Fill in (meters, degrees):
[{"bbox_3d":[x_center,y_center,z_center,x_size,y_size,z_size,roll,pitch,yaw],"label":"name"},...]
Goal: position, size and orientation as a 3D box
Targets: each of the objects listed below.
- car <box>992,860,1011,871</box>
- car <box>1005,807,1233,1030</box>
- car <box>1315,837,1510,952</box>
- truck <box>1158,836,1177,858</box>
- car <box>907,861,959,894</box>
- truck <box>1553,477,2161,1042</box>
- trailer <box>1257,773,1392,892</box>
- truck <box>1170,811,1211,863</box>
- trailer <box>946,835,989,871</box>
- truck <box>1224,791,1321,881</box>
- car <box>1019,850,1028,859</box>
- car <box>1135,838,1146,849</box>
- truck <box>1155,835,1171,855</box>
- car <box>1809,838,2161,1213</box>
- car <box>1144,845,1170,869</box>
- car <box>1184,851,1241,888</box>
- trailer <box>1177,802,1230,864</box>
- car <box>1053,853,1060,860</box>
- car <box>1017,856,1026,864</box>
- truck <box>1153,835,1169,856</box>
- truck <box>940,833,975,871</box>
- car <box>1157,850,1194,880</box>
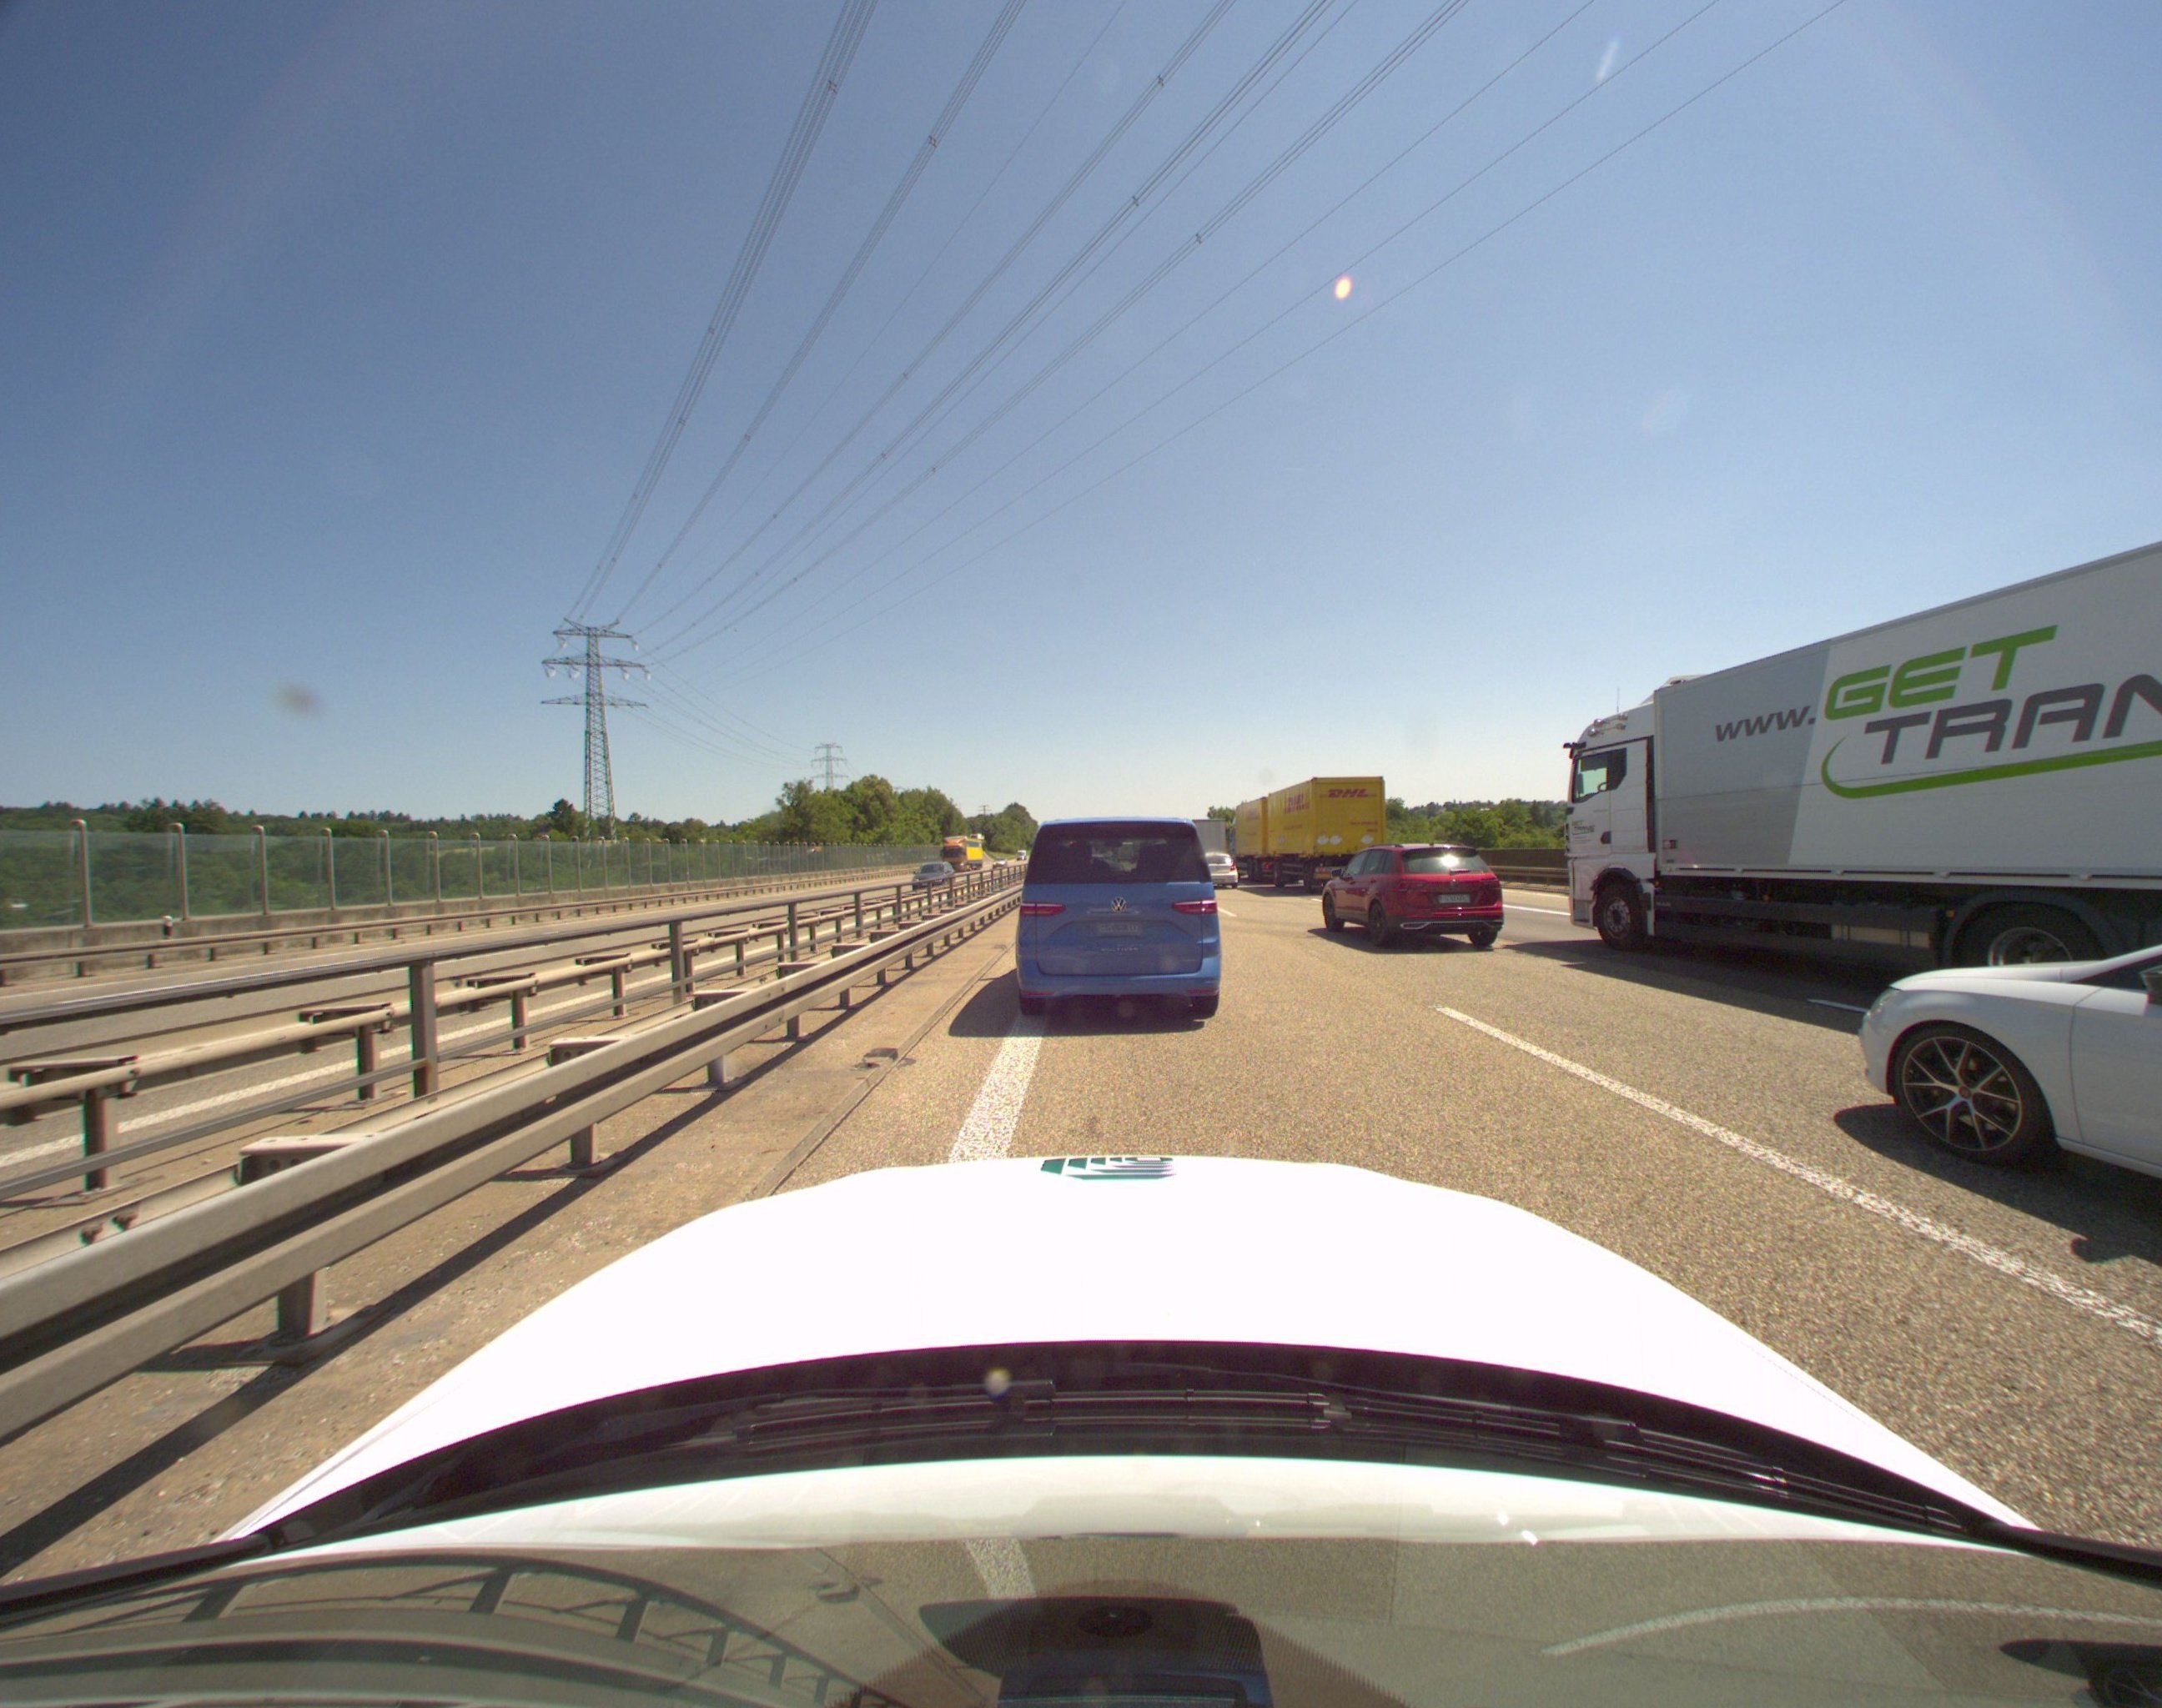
[{"bbox_3d":[-10.420,1.550,106.591,1.681,1.303,4.017,-4,-1,4],"label":"car"},{"bbox_3d":[0.364,0.562,8.919,1.924,1.874,4.001,-1,-1,1],"label":"car"},{"bbox_3d":[5.462,0.582,14.052,1.702,1.679,4.286,-1,0,1],"label":"car"},{"bbox_3d":[9.958,-0.754,94.362,1.791,2.449,4.505,-1,-1,1],"label":"truck"},{"bbox_3d":[-7.681,1.210,42.702,1.755,1.508,4.225,-3,0,2],"label":"car"},{"bbox_3d":[8.996,-0.649,7.857,2.842,3.934,10.611,-1,-1,1],"label":"truck"},{"bbox_3d":[9.322,-0.713,32.481,2.674,4.088,8.979,0,-1,0],"label":"trailer"},{"bbox_3d":[10.226,-1.468,76.737,3.015,4.611,7.923,-1,-1,2],"label":"truck"},{"bbox_3d":[-13.974,-0.094,101.540,2.617,4.114,14.026,-2,-1,3],"label":"trailer"},{"bbox_3d":[9.561,-0.779,41.932,2.690,4.088,9.938,0,-1,0],"label":"truck"},{"bbox_3d":[-13.809,0.184,194.711,1.835,2.042,3.944,-1,-1,1],"label":"car"},{"bbox_3d":[11.620,-2.066,159.138,1.986,2.014,4.001,-1,-1,1],"label":"car"},{"bbox_3d":[10.882,-1.207,108.502,1.790,2.596,4.307,-1,-1,1],"label":"truck"},{"bbox_3d":[5.018,0.662,2.481,1.702,1.451,4.429,-1,0,1],"label":"car"},{"bbox_3d":[6.436,0.241,69.231,1.955,1.936,3.933,-1,-1,1],"label":"car"},{"bbox_3d":[5.591,0.640,35.062,1.809,1.470,3.931,-1,-1,0],"label":"car"},{"bbox_3d":[9.938,-1.554,67.311,3.015,4.611,10.928,-1,-1,2],"label":"trailer"},{"bbox_3d":[-6.836,0.708,225.697,1.835,1.751,3.944,-1,-1,1],"label":"car"},{"bbox_3d":[-13.792,1.337,189.187,1.835,1.751,3.944,-1,-1,1],"label":"car"},{"bbox_3d":[10.087,-1.103,103.088,1.735,2.549,4.211,-1,-1,1],"label":"truck"},{"bbox_3d":[-14.351,-0.184,94.773,2.660,4.185,6.292,-2,-1,3],"label":"truck"},{"bbox_3d":[5.508,0.627,47.863,1.808,1.679,3.933,-1,-1,1],"label":"car"}]
